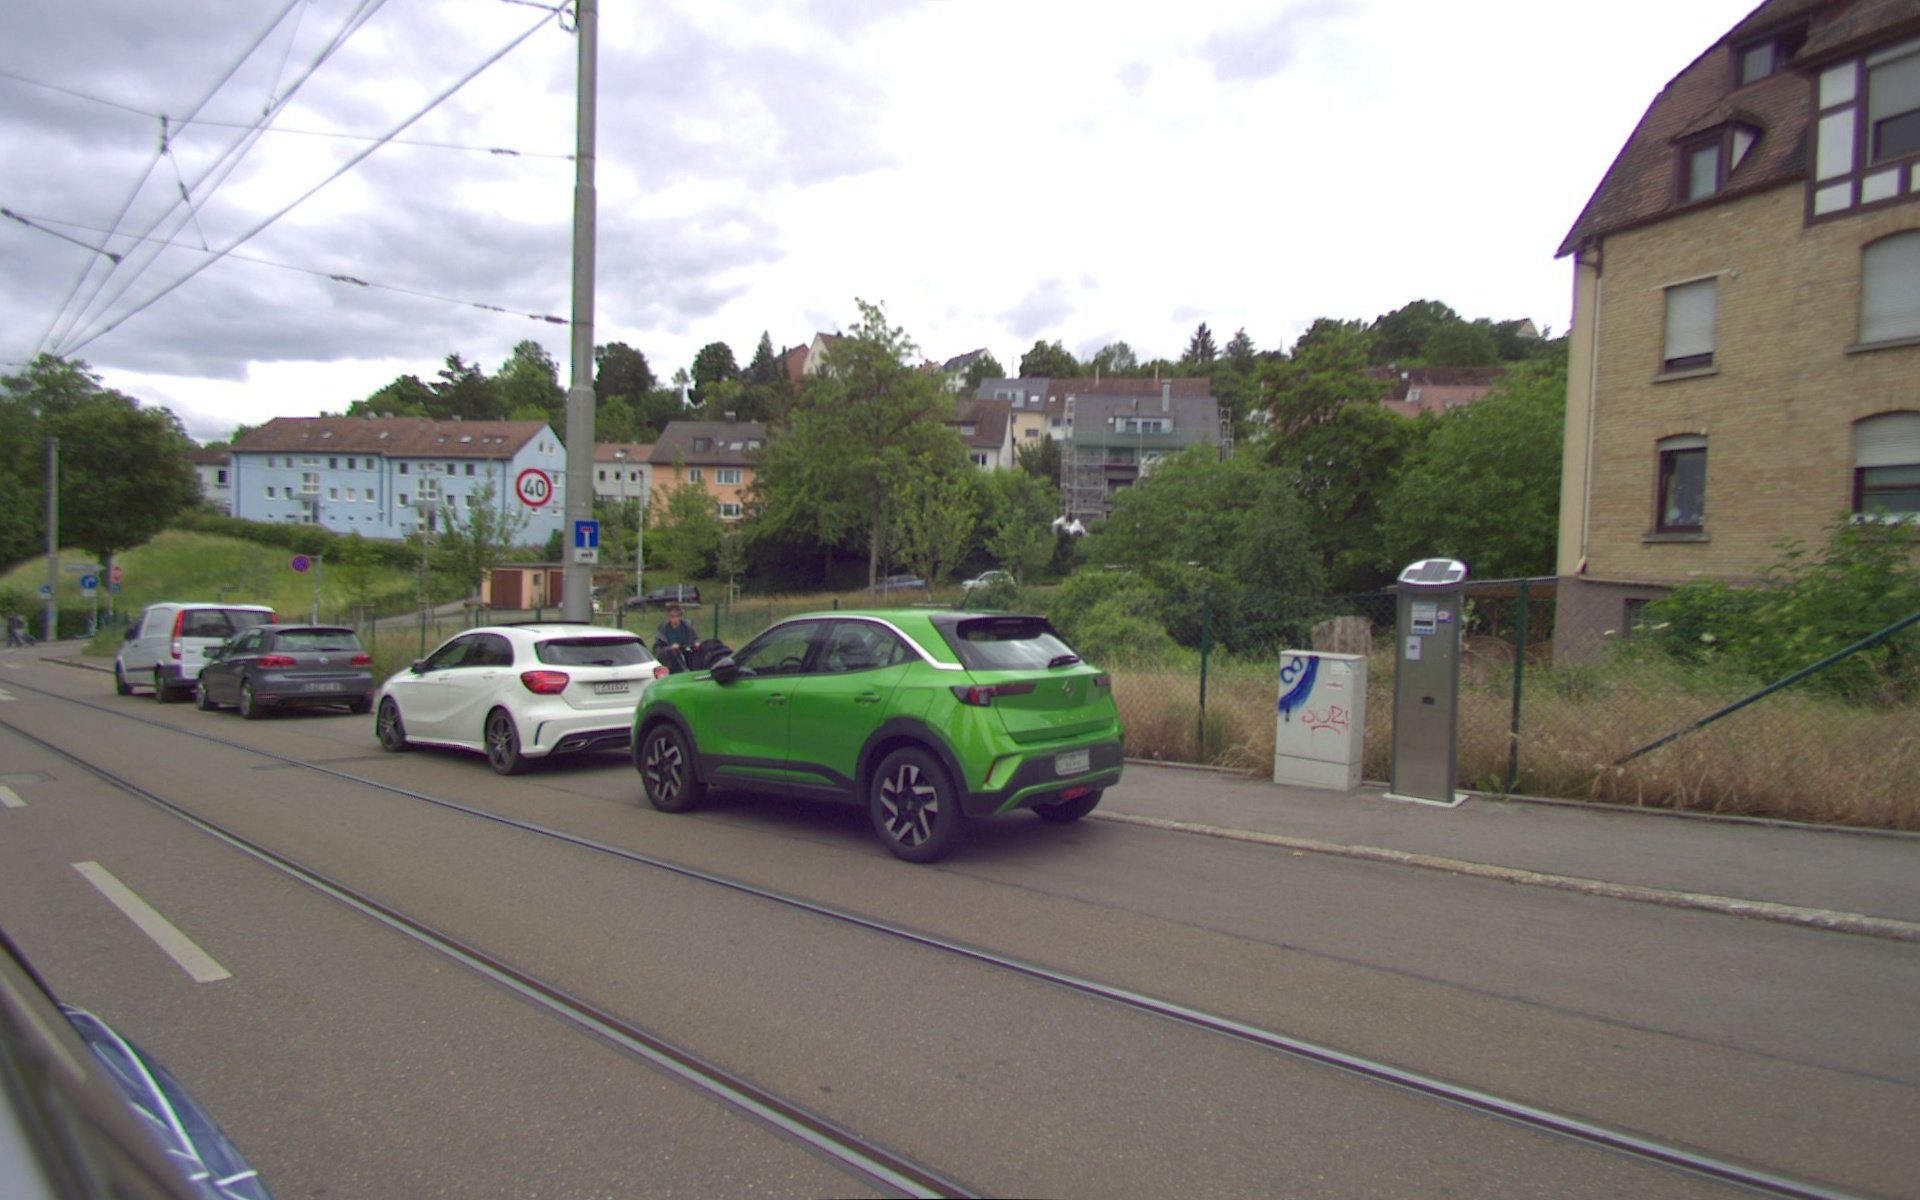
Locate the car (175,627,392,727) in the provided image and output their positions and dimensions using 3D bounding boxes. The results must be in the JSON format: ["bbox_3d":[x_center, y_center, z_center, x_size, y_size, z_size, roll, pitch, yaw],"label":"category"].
[{"bbox_3d":[-11.403,1.184,16.941,4.508,1.443,1.876,-1,-2,41],"label":"car"}]

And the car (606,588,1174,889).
[{"bbox_3d":[-0.717,0.776,7.394,4.178,1.592,1.705,-1,-2,41],"label":"car"}]

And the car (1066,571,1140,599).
[{"bbox_3d":[9.411,-1.008,66.676,4.412,1.802,1.906,-1,0,-10],"label":"car"}]

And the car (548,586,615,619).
[{"bbox_3d":[-24.196,0.111,64.907,1.976,1.624,4.871,0,6,8],"label":"car"}]

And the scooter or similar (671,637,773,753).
[{"bbox_3d":[-2.704,1.045,11.509,0.839,1.205,0.796,0,1,41],"label":"scooter or similar"}]

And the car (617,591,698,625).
[{"bbox_3d":[-18.126,0.475,60.822,4.378,1.702,1.982,-4,1,-11],"label":"car"}]

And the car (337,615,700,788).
[{"bbox_3d":[-5.044,0.938,11.242,4.661,1.537,1.865,-1,-2,41],"label":"car"}]

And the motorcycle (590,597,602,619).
[{"bbox_3d":[-21.602,0.481,60.106,0.513,1.165,1.710,-1,4,-14],"label":"motorcycle"}]

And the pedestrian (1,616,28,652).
[{"bbox_3d":[-48.060,1.732,51.449,0.887,1.763,0.744,-1,0,-36],"label":"pedestrian"}]

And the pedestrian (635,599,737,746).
[{"bbox_3d":[-3.244,0.816,11.984,0.916,1.641,0.796,0,0,42],"label":"pedestrian"}]

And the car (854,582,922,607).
[{"bbox_3d":[-4.569,-0.334,63.637,4.065,1.523,1.987,-1,0,-10],"label":"car"}]

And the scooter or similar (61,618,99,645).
[{"bbox_3d":[-47.264,1.704,54.361,0.418,1.298,1.394,0,4,41],"label":"scooter or similar"}]

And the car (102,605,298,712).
[{"bbox_3d":[-15.372,1.093,20.367,4.881,1.896,2.015,0,-3,40],"label":"car"}]

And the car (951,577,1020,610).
[{"bbox_3d":[1.616,-0.431,65.191,4.064,2.029,1.987,-1,0,-11],"label":"car"}]
